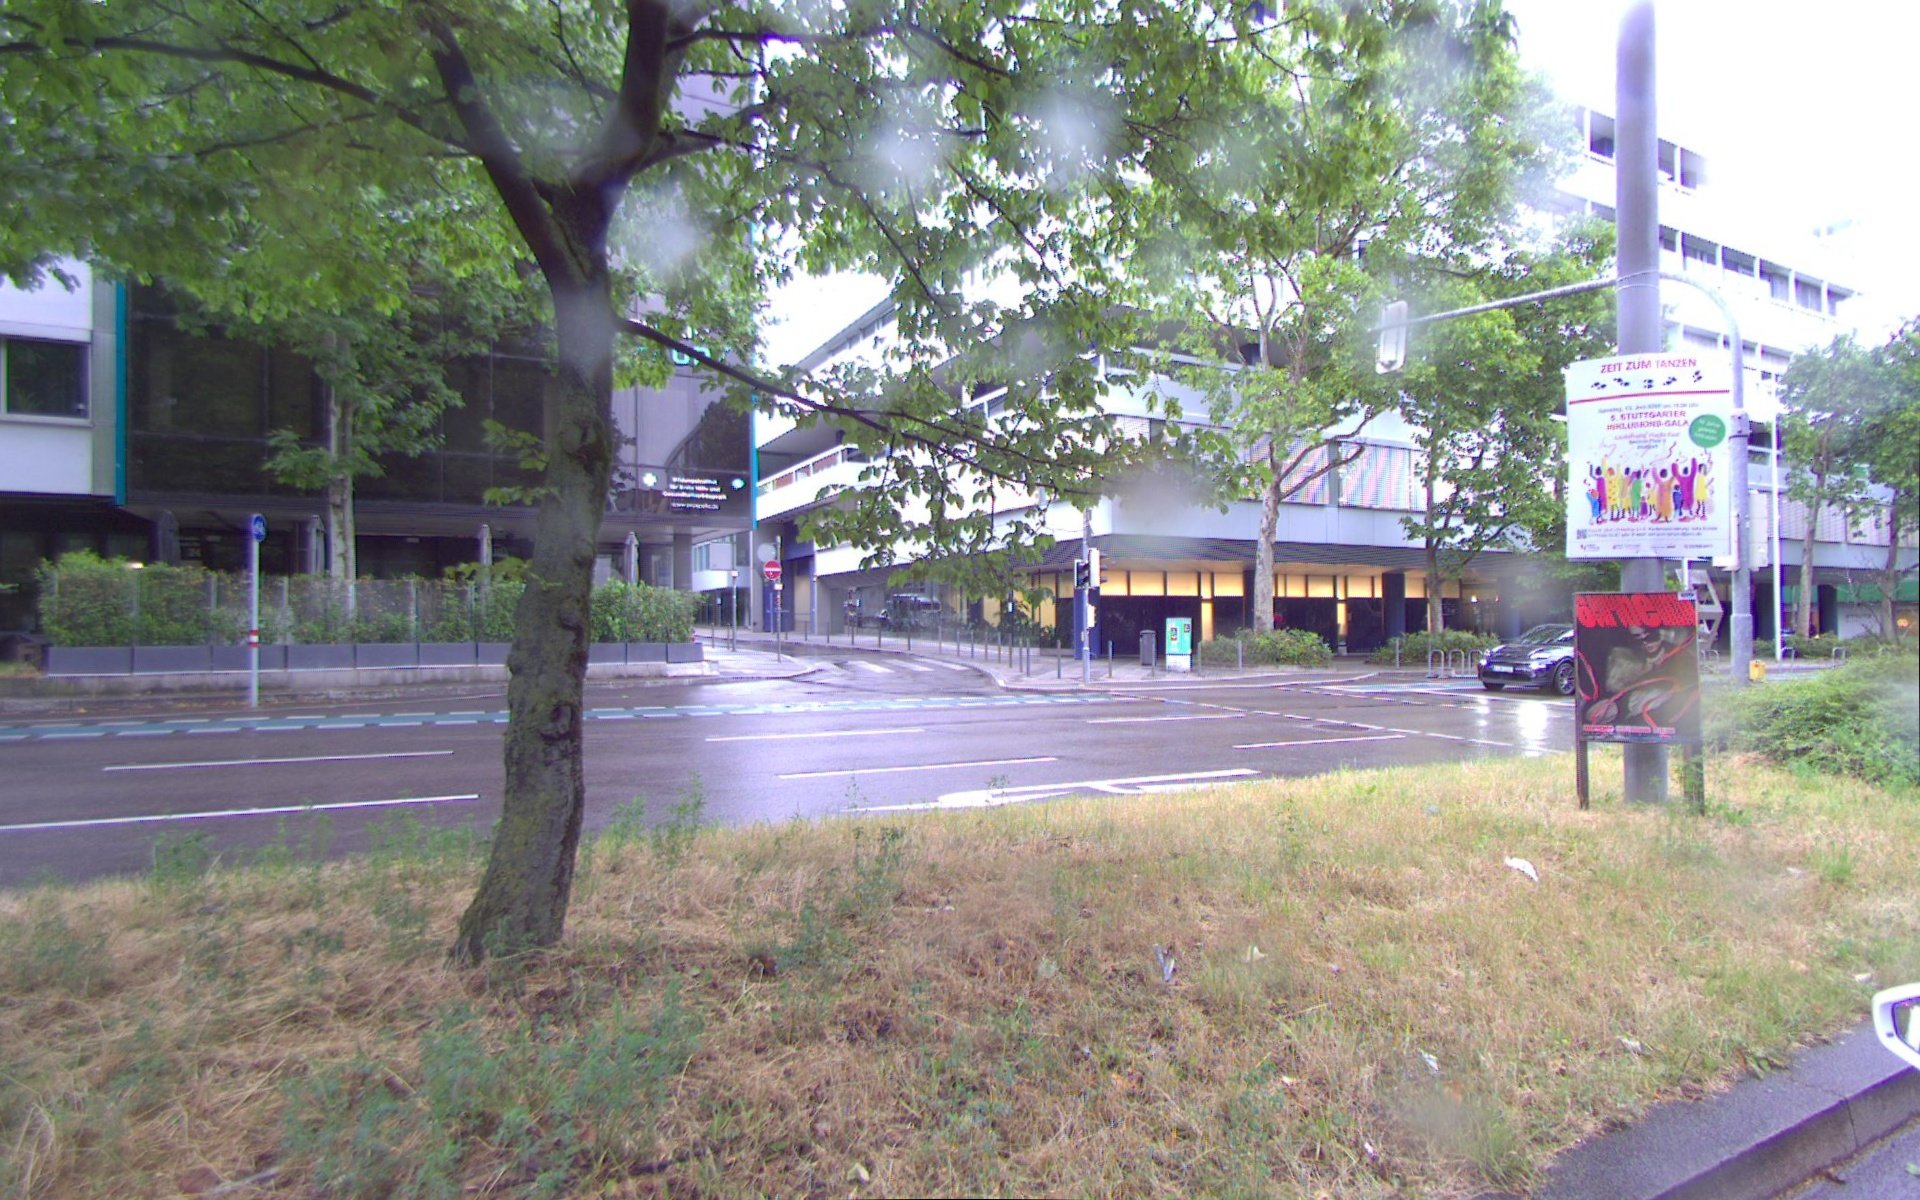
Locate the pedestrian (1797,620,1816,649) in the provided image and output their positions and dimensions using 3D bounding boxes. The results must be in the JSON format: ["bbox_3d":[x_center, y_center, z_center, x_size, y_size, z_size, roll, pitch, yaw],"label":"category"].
[{"bbox_3d":[45.834,1.874,54.381,0.568,1.502,0.606,2,0,-32],"label":"pedestrian"}]

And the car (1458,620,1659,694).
[{"bbox_3d":[14.520,1.365,24.346,4.683,1.605,1.903,2,0,-26],"label":"car"}]
